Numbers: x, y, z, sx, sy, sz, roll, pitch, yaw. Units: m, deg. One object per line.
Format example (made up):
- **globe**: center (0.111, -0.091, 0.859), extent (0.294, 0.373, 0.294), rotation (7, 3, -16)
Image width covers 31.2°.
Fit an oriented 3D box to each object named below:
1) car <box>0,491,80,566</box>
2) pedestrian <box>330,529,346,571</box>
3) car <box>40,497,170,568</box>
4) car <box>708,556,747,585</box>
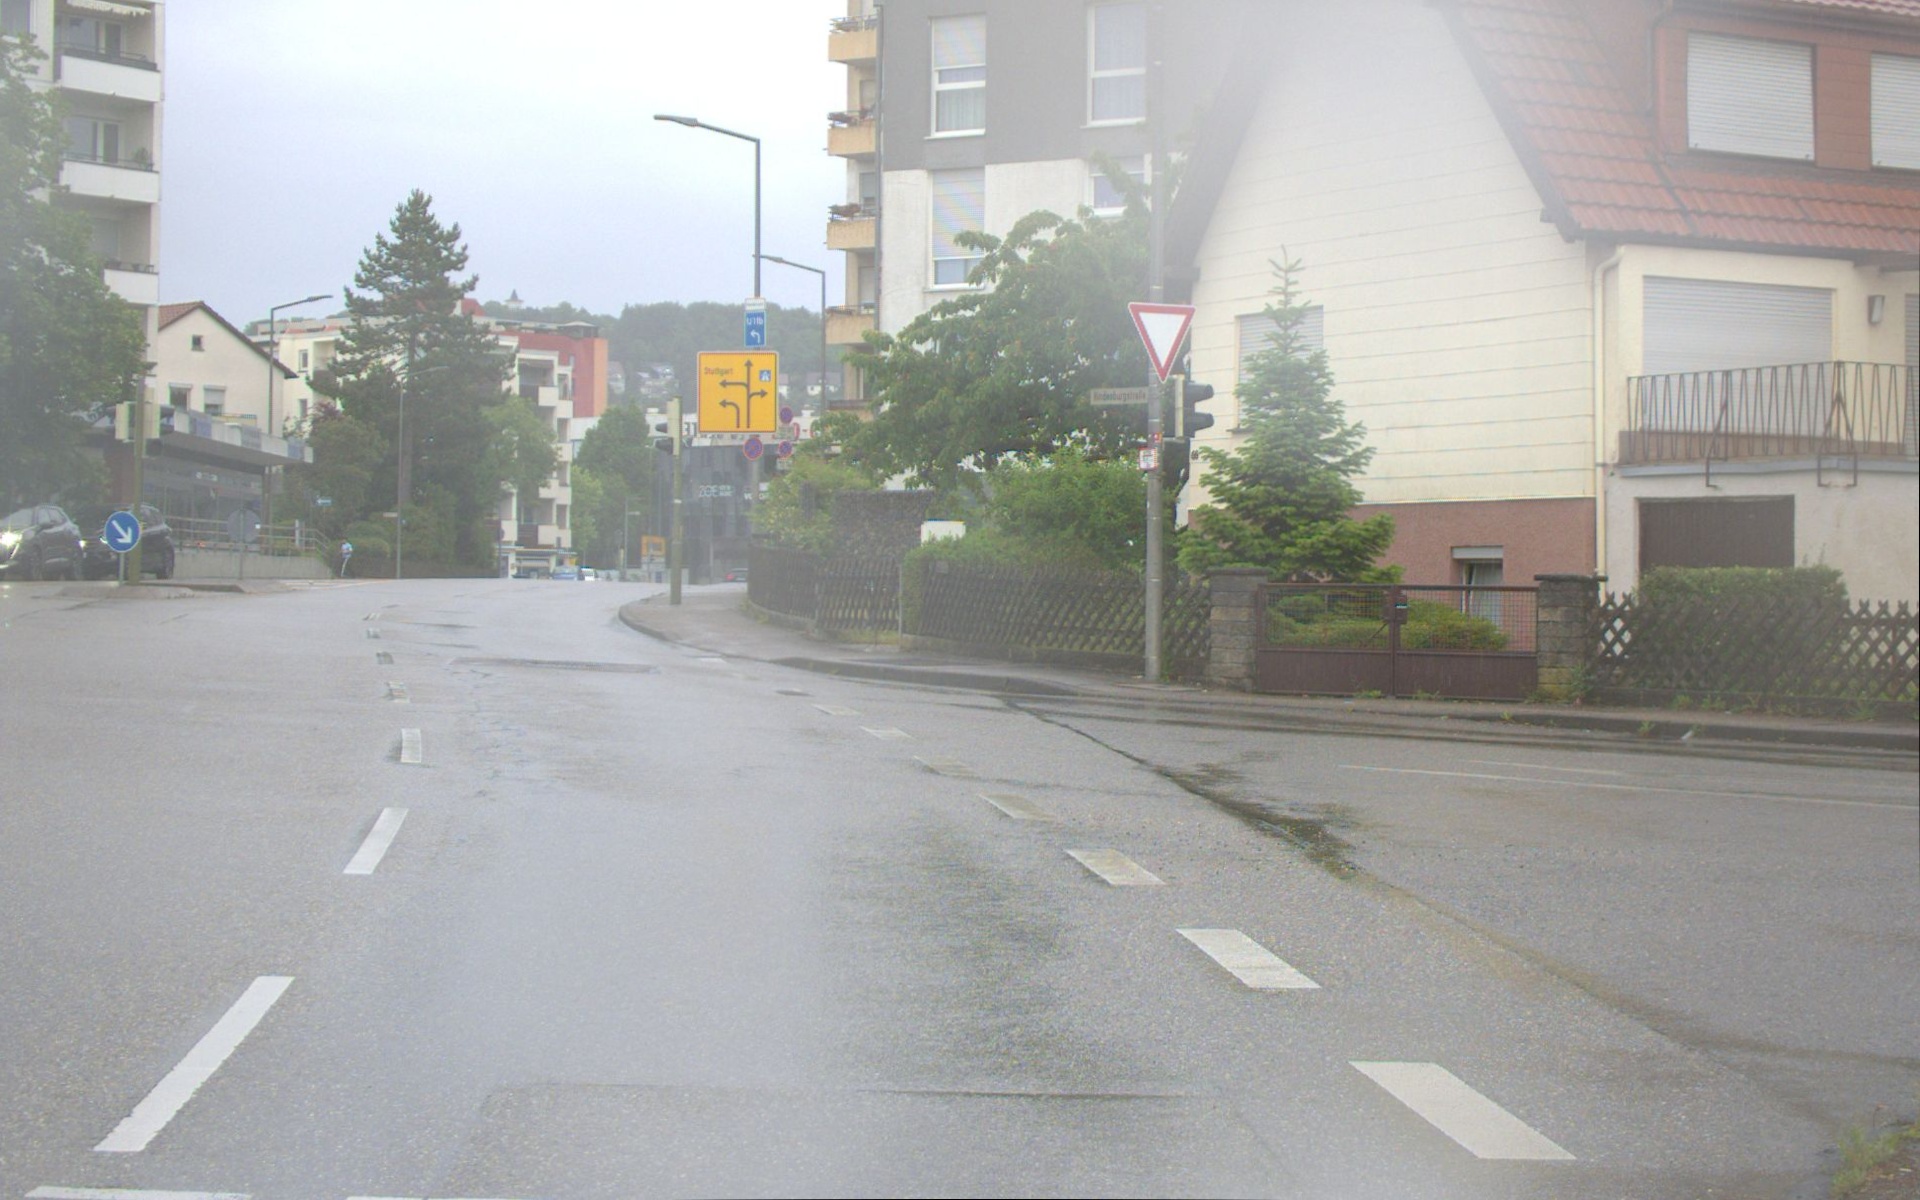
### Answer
- **car**: center (-18.209, -1.396, 65.796), extent (1.715, 1.382, 4.021), rotation (1, 1, -1)
- **pedestrian**: center (-24.606, -1.971, 135.919), extent (0.497, 1.652, 0.434), rotation (1, 1, 5)
- **car**: center (-17.814, -1.422, 71.774), extent (1.778, 1.415, 3.831), rotation (1, 1, -1)
- **car**: center (-12.823, -1.633, 189.693), extent (1.813, 1.481, 4.189), rotation (0, 1, 0)
